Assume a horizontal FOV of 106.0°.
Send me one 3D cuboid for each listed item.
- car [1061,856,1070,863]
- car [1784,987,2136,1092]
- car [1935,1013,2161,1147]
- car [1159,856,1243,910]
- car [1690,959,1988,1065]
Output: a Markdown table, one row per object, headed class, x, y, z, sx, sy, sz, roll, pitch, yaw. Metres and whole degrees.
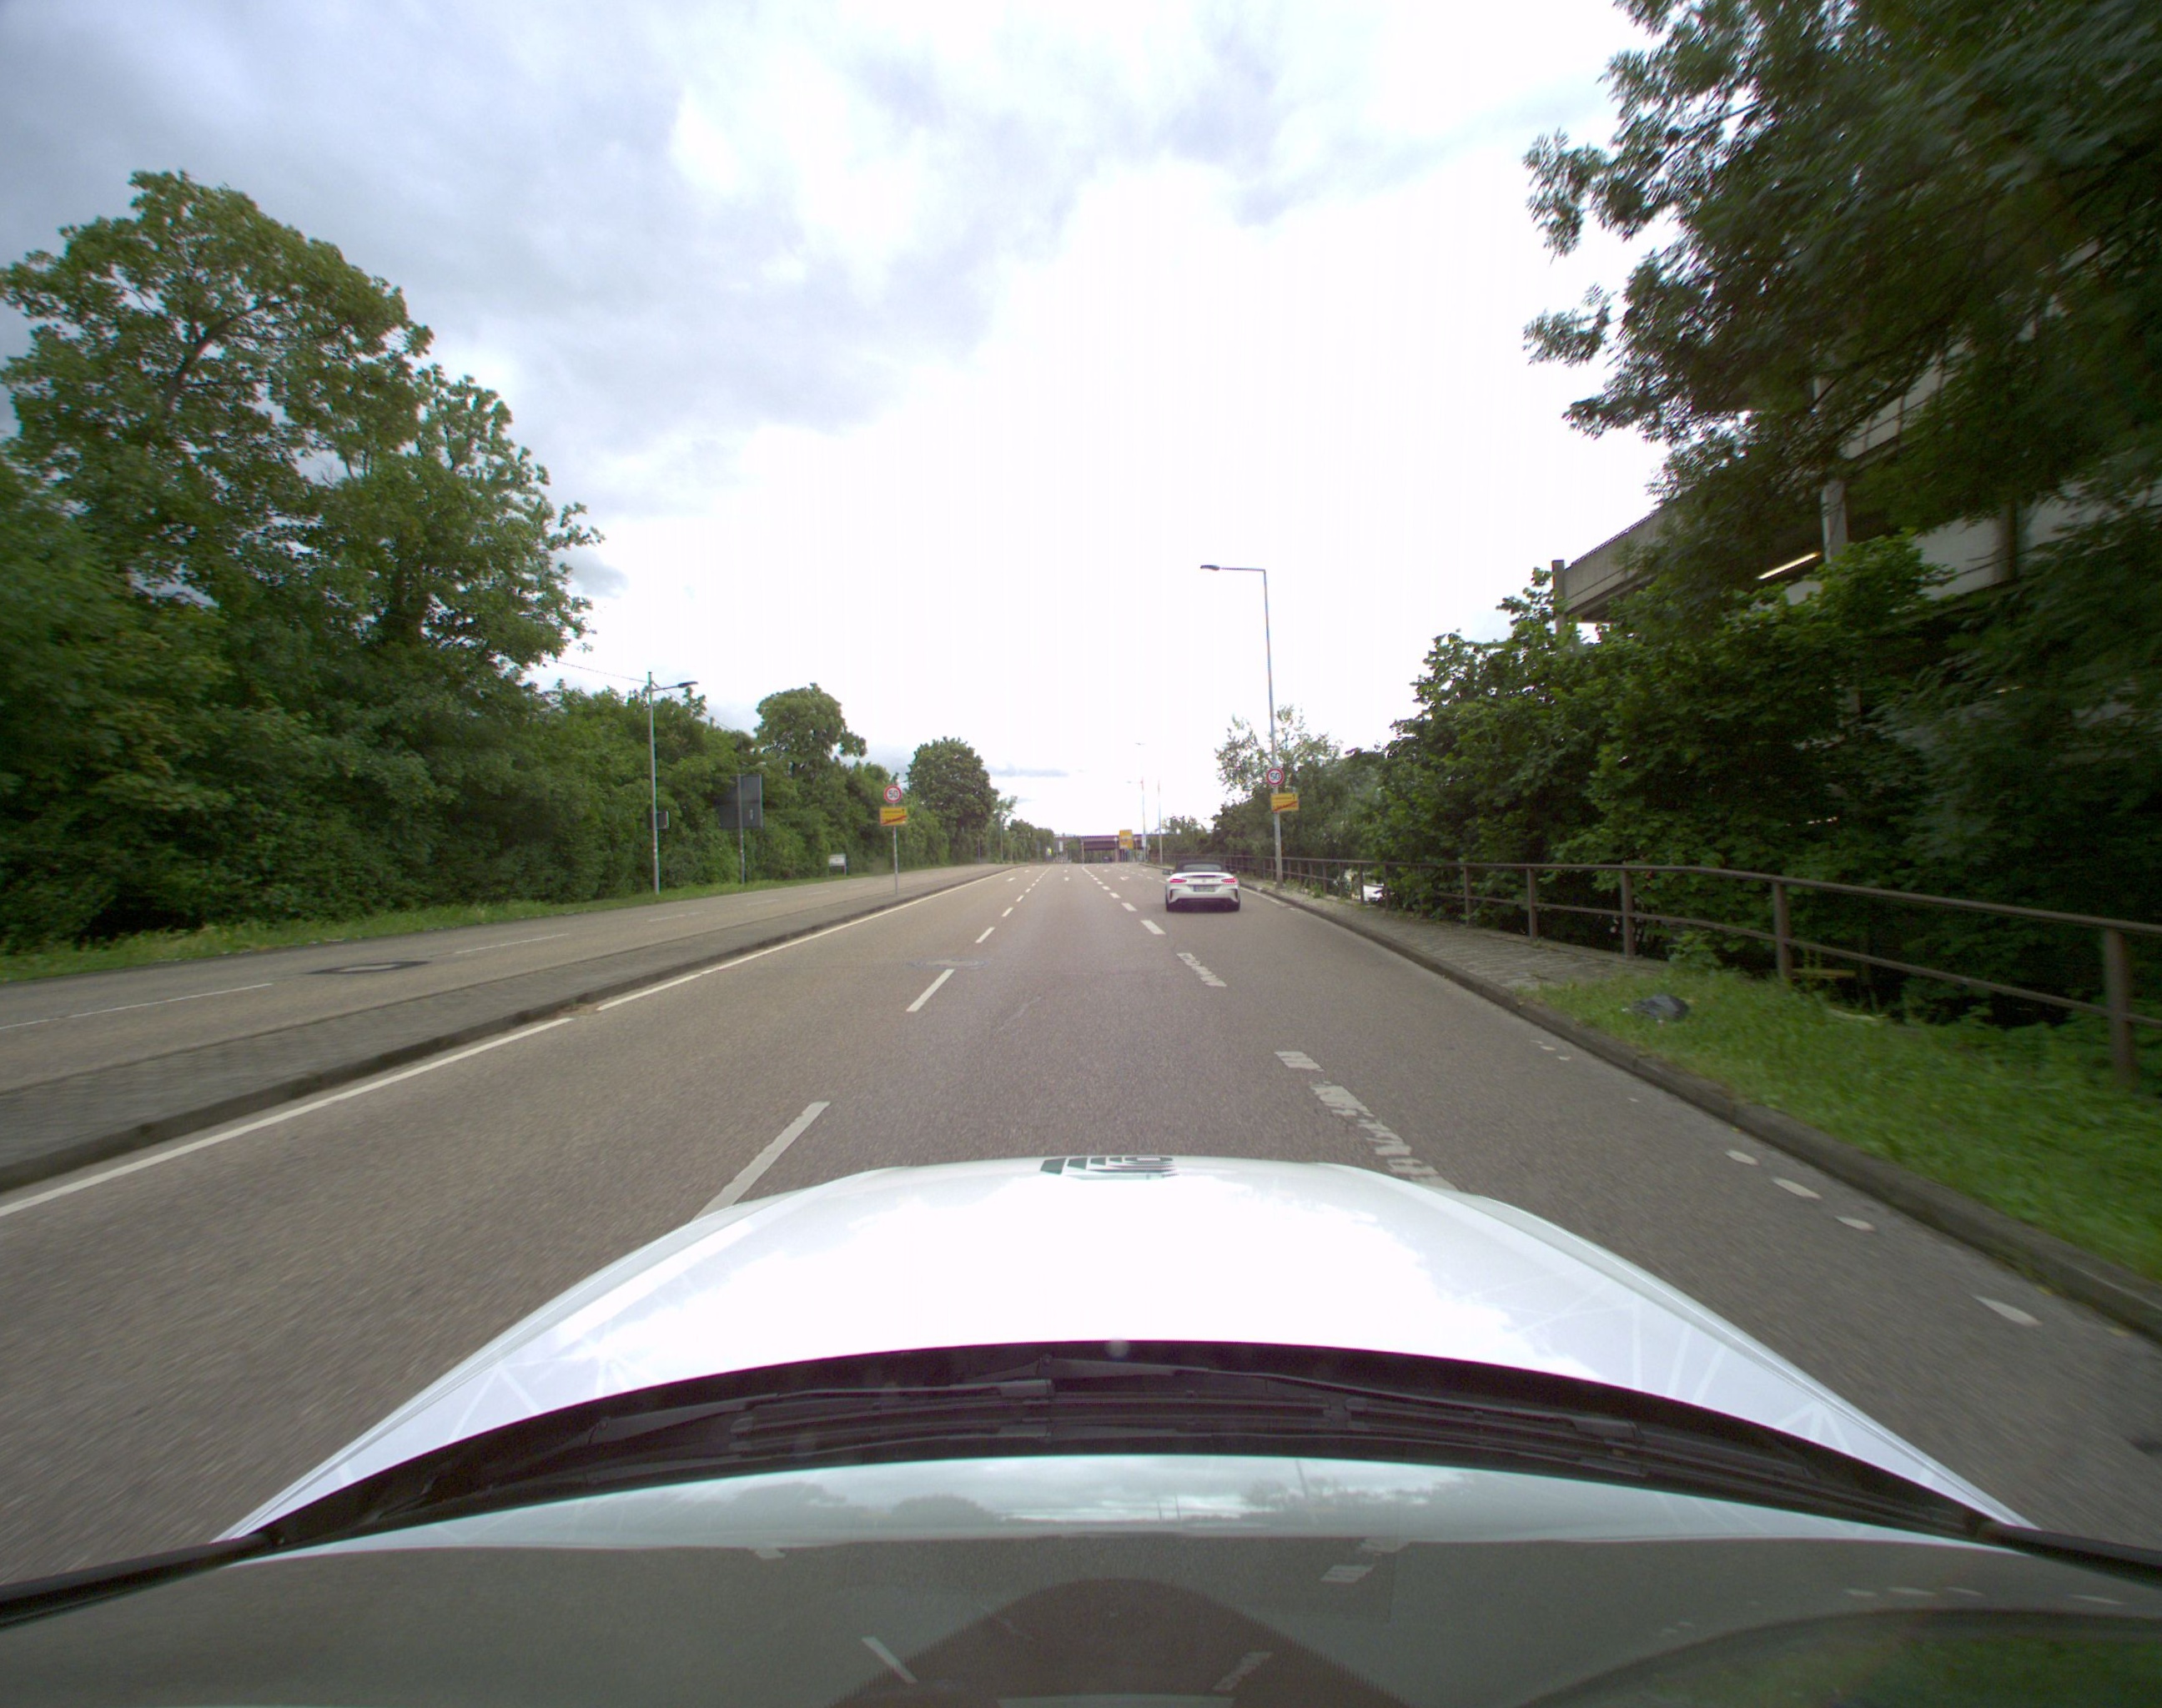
| class | x | y | z | sx | sy | sz | roll | pitch | yaw |
| --- | --- | --- | --- | --- | --- | --- | --- | --- | --- |
| car | -3.425 | 1.193 | 183.710 | 1.764 | 1.633 | 3.826 | 0 | -1 | 2 |
| car | 16.487 | 3.455 | 15.463 | 4.640 | 1.430 | 1.997 | -2 | -3 | -3 |
| car | 16.597 | 3.413 | 12.670 | 4.640 | 1.430 | 1.997 | -2 | -3 | -3 |
| car | 3.111 | 0.733 | 21.806 | 1.867 | 1.309 | 3.876 | -1 | -1 | 3 |
| car | 16.396 | 3.374 | 17.784 | 4.734 | 1.785 | 1.998 | -2 | -2 | -3 |
